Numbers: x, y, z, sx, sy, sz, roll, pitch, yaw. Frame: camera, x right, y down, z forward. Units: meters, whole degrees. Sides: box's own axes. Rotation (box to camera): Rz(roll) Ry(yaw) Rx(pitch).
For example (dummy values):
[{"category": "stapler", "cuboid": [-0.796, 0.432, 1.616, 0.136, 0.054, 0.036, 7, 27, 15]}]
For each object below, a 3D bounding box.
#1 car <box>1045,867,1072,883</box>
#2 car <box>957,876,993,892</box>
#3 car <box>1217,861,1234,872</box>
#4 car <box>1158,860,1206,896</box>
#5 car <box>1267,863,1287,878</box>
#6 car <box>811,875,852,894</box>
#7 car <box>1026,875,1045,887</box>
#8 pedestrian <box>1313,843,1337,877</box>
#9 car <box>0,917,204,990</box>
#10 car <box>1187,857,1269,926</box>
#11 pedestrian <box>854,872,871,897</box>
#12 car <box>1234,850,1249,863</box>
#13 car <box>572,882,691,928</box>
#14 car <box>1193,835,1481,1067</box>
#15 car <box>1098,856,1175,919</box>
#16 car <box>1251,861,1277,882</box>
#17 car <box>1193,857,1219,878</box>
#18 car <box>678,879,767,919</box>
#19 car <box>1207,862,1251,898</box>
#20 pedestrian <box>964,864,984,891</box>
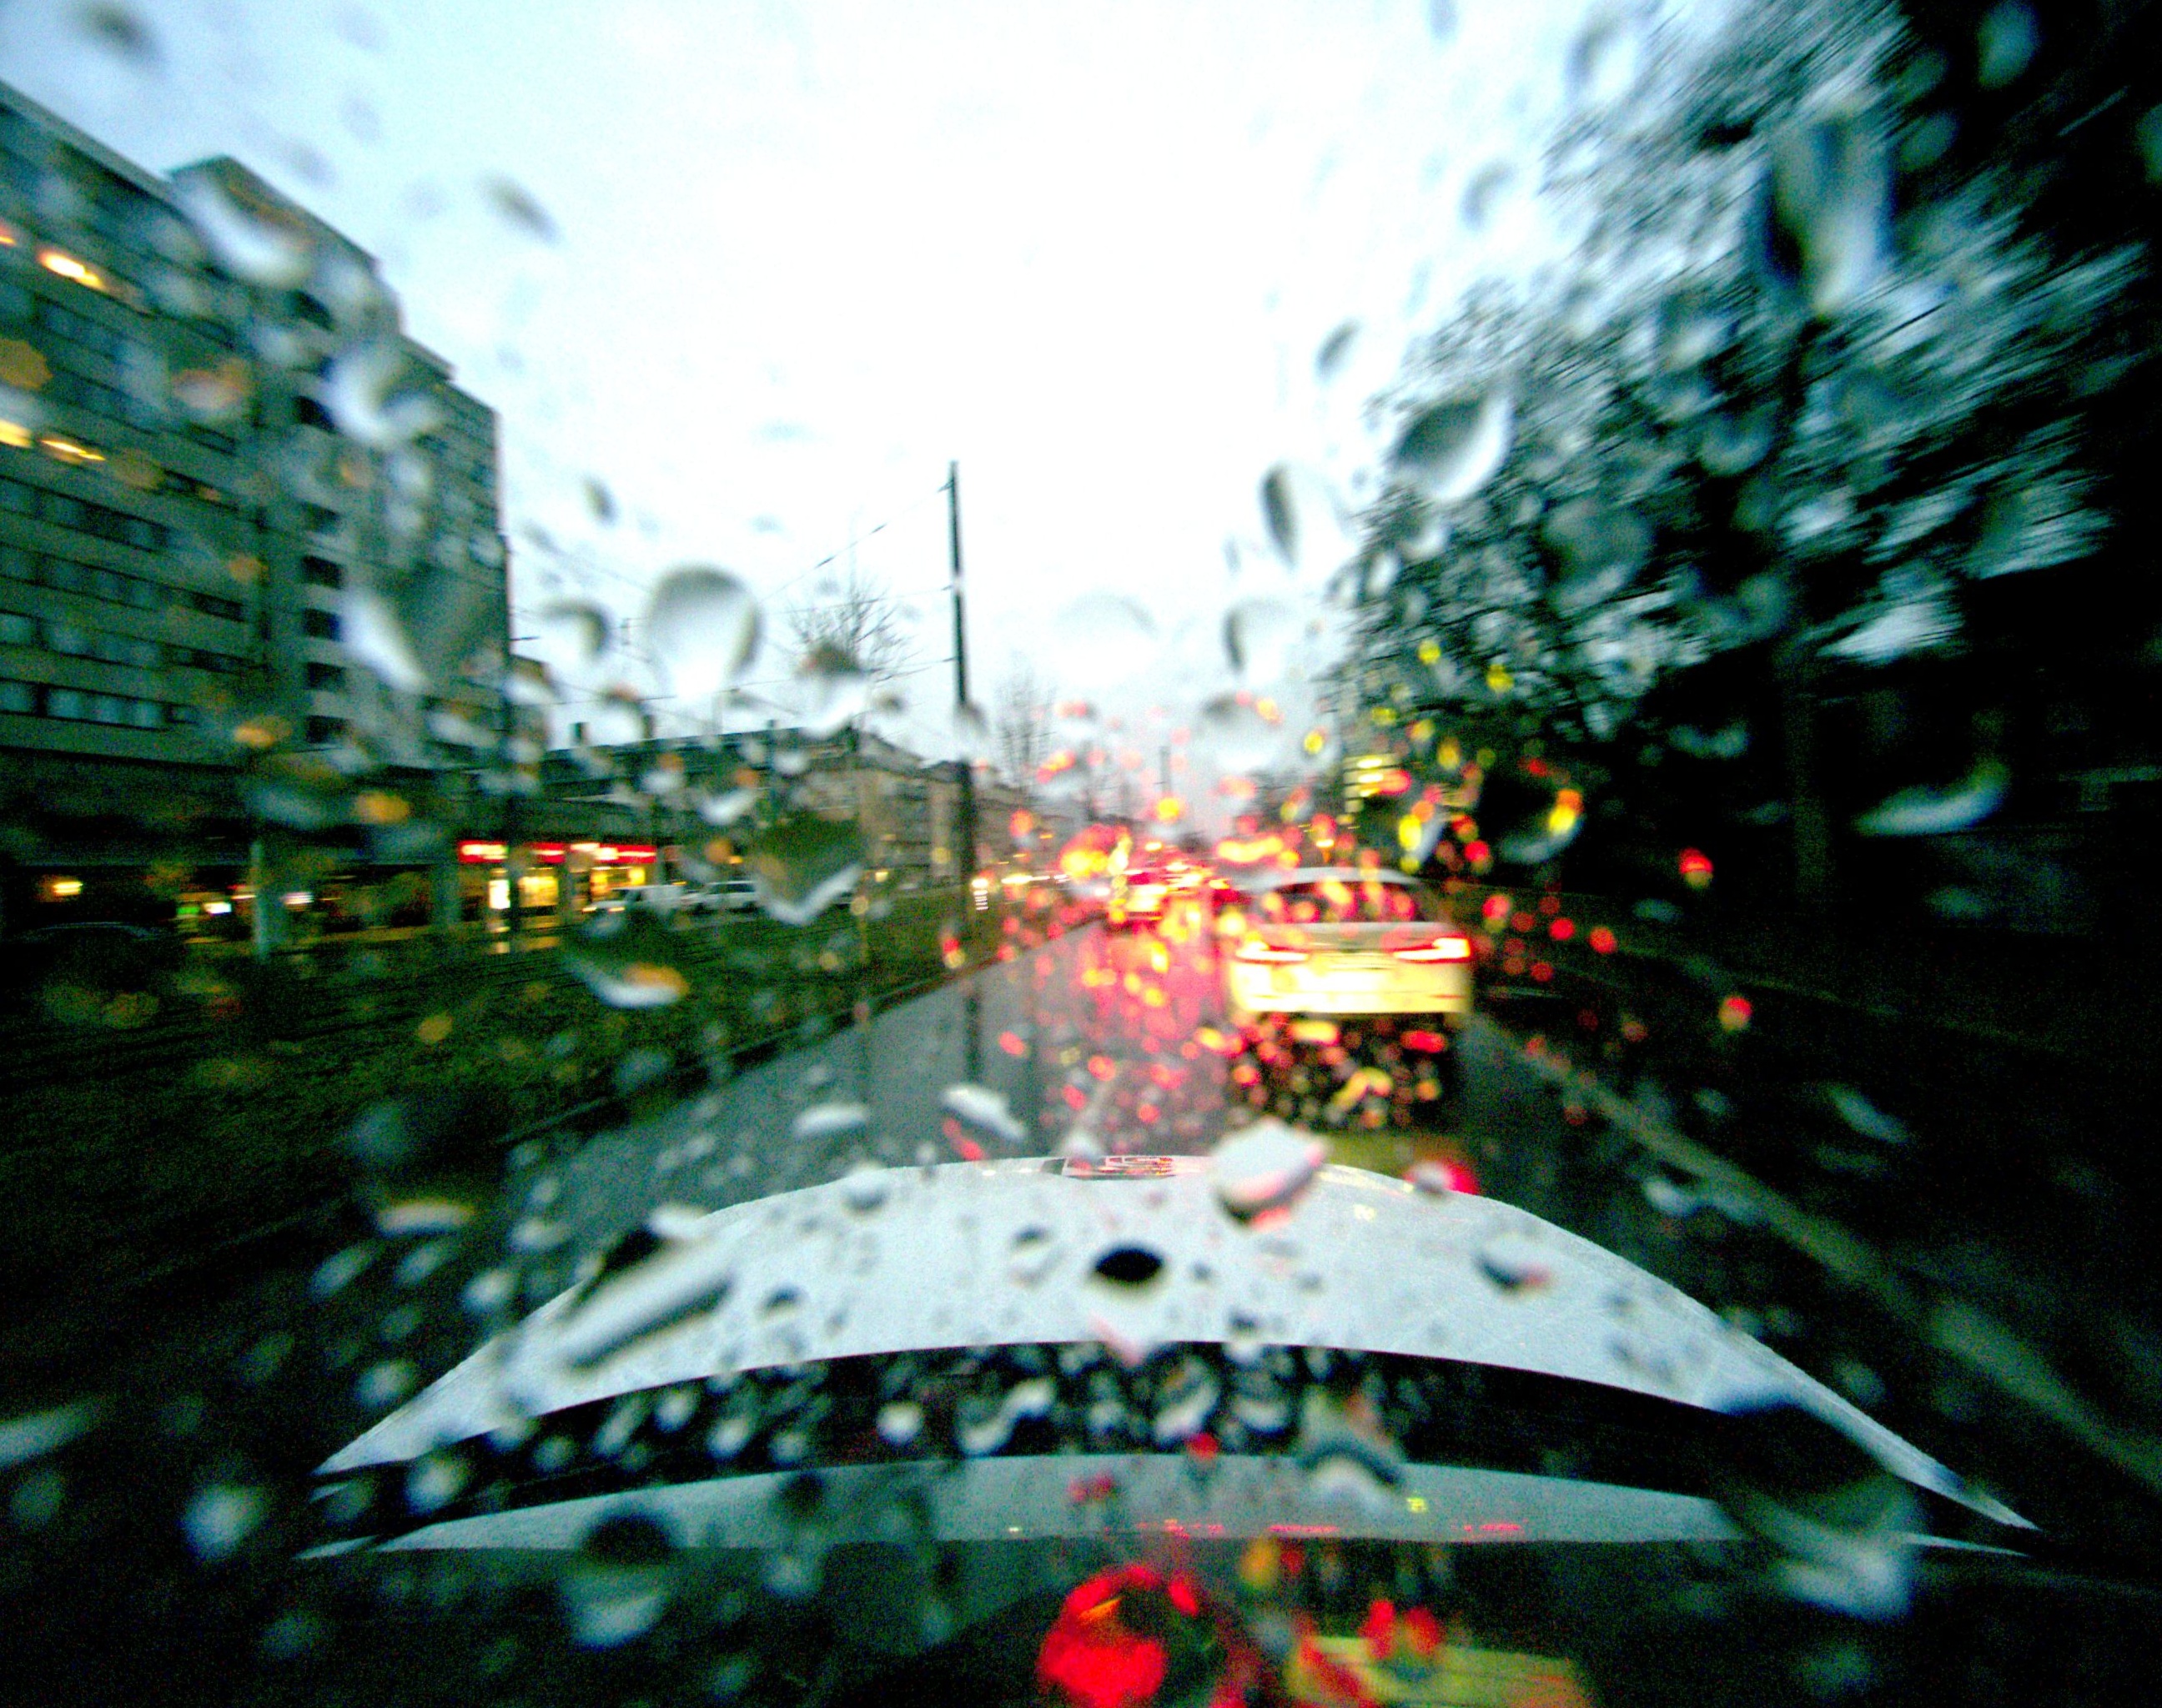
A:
[{"category": "car", "cuboid": [-2.281, 2.177, 83.794, 1.981, 1.602, 4.011, -1, -1, 10]}, {"category": "car", "cuboid": [-9.188, 2.574, 70.829, 1.847, 1.332, 4.328, -1, -1, 11]}, {"category": "car", "cuboid": [17.482, 1.487, 98.634, 1.917, 1.288, 4.012, -1, -1, 11]}, {"category": "car", "cuboid": [4.706, 1.048, 37.339, 1.787, 1.466, 4.599, -3, -1, 11]}, {"category": "car", "cuboid": [19.739, 1.651, 82.057, 1.726, 1.419, 3.714, -3, -1, 11]}, {"category": "car", "cuboid": [-26.602, 3.221, 87.035, 3.732, 1.942, 1.843, -1, -1, 3]}, {"category": "car", "cuboid": [-5.517, 3.308, 98.933, 1.683, 1.278, 4.153, -3, -1, 5]}, {"category": "pedestrian", "cuboid": [14.782, 0.350, 49.337, 0.959, 2.014, 1.003, -3, -1, -12]}, {"category": "car", "cuboid": [-27.727, 2.724, 22.595, 4.145, 1.693, 1.970, 0, -1, -22]}, {"category": "car", "cuboid": [3.764, 0.885, 20.690, 1.788, 1.511, 3.907, -3, -1, 11]}, {"category": "pedestrian", "cuboid": [-18.245, 2.522, 68.131, 1.271, 2.014, 1.003, -3, -1, -13]}, {"category": "car", "cuboid": [19.346, 0.340, 98.164, 1.726, 1.419, 4.158, -3, -1, 11]}, {"category": "car", "cuboid": [-22.844, 2.551, 41.695, 1.978, 2.046, 5.588, -1, -1, 16]}, {"category": "car", "cuboid": [2.234, 0.714, 8.125, 1.850, 1.556, 4.953, -3, -1, 11]}, {"category": "car", "cuboid": [1.611, 0.863, 22.297, 1.683, 1.533, 4.010, -2, -1, 9]}, {"category": "car", "cuboid": [13.785, 1.289, 61.536, 1.726, 1.419, 3.714, -3, -1, 11]}, {"category": "car", "cuboid": [9.599, 1.001, 62.378, 1.726, 1.419, 4.407, -3, -1, 11]}, {"category": "car", "cuboid": [-22.358, 2.756, 50.865, 4.852, 2.244, 1.978, 0, -1, -35]}, {"category": "car", "cuboid": [6.293, 1.071, 34.438, 1.734, 1.433, 3.743, -1, -1, 11]}, {"category": "pedestrian", "cuboid": [-8.171, 1.796, 62.146, 0.949, 2.014, 1.014, -4, -1, 35]}]
